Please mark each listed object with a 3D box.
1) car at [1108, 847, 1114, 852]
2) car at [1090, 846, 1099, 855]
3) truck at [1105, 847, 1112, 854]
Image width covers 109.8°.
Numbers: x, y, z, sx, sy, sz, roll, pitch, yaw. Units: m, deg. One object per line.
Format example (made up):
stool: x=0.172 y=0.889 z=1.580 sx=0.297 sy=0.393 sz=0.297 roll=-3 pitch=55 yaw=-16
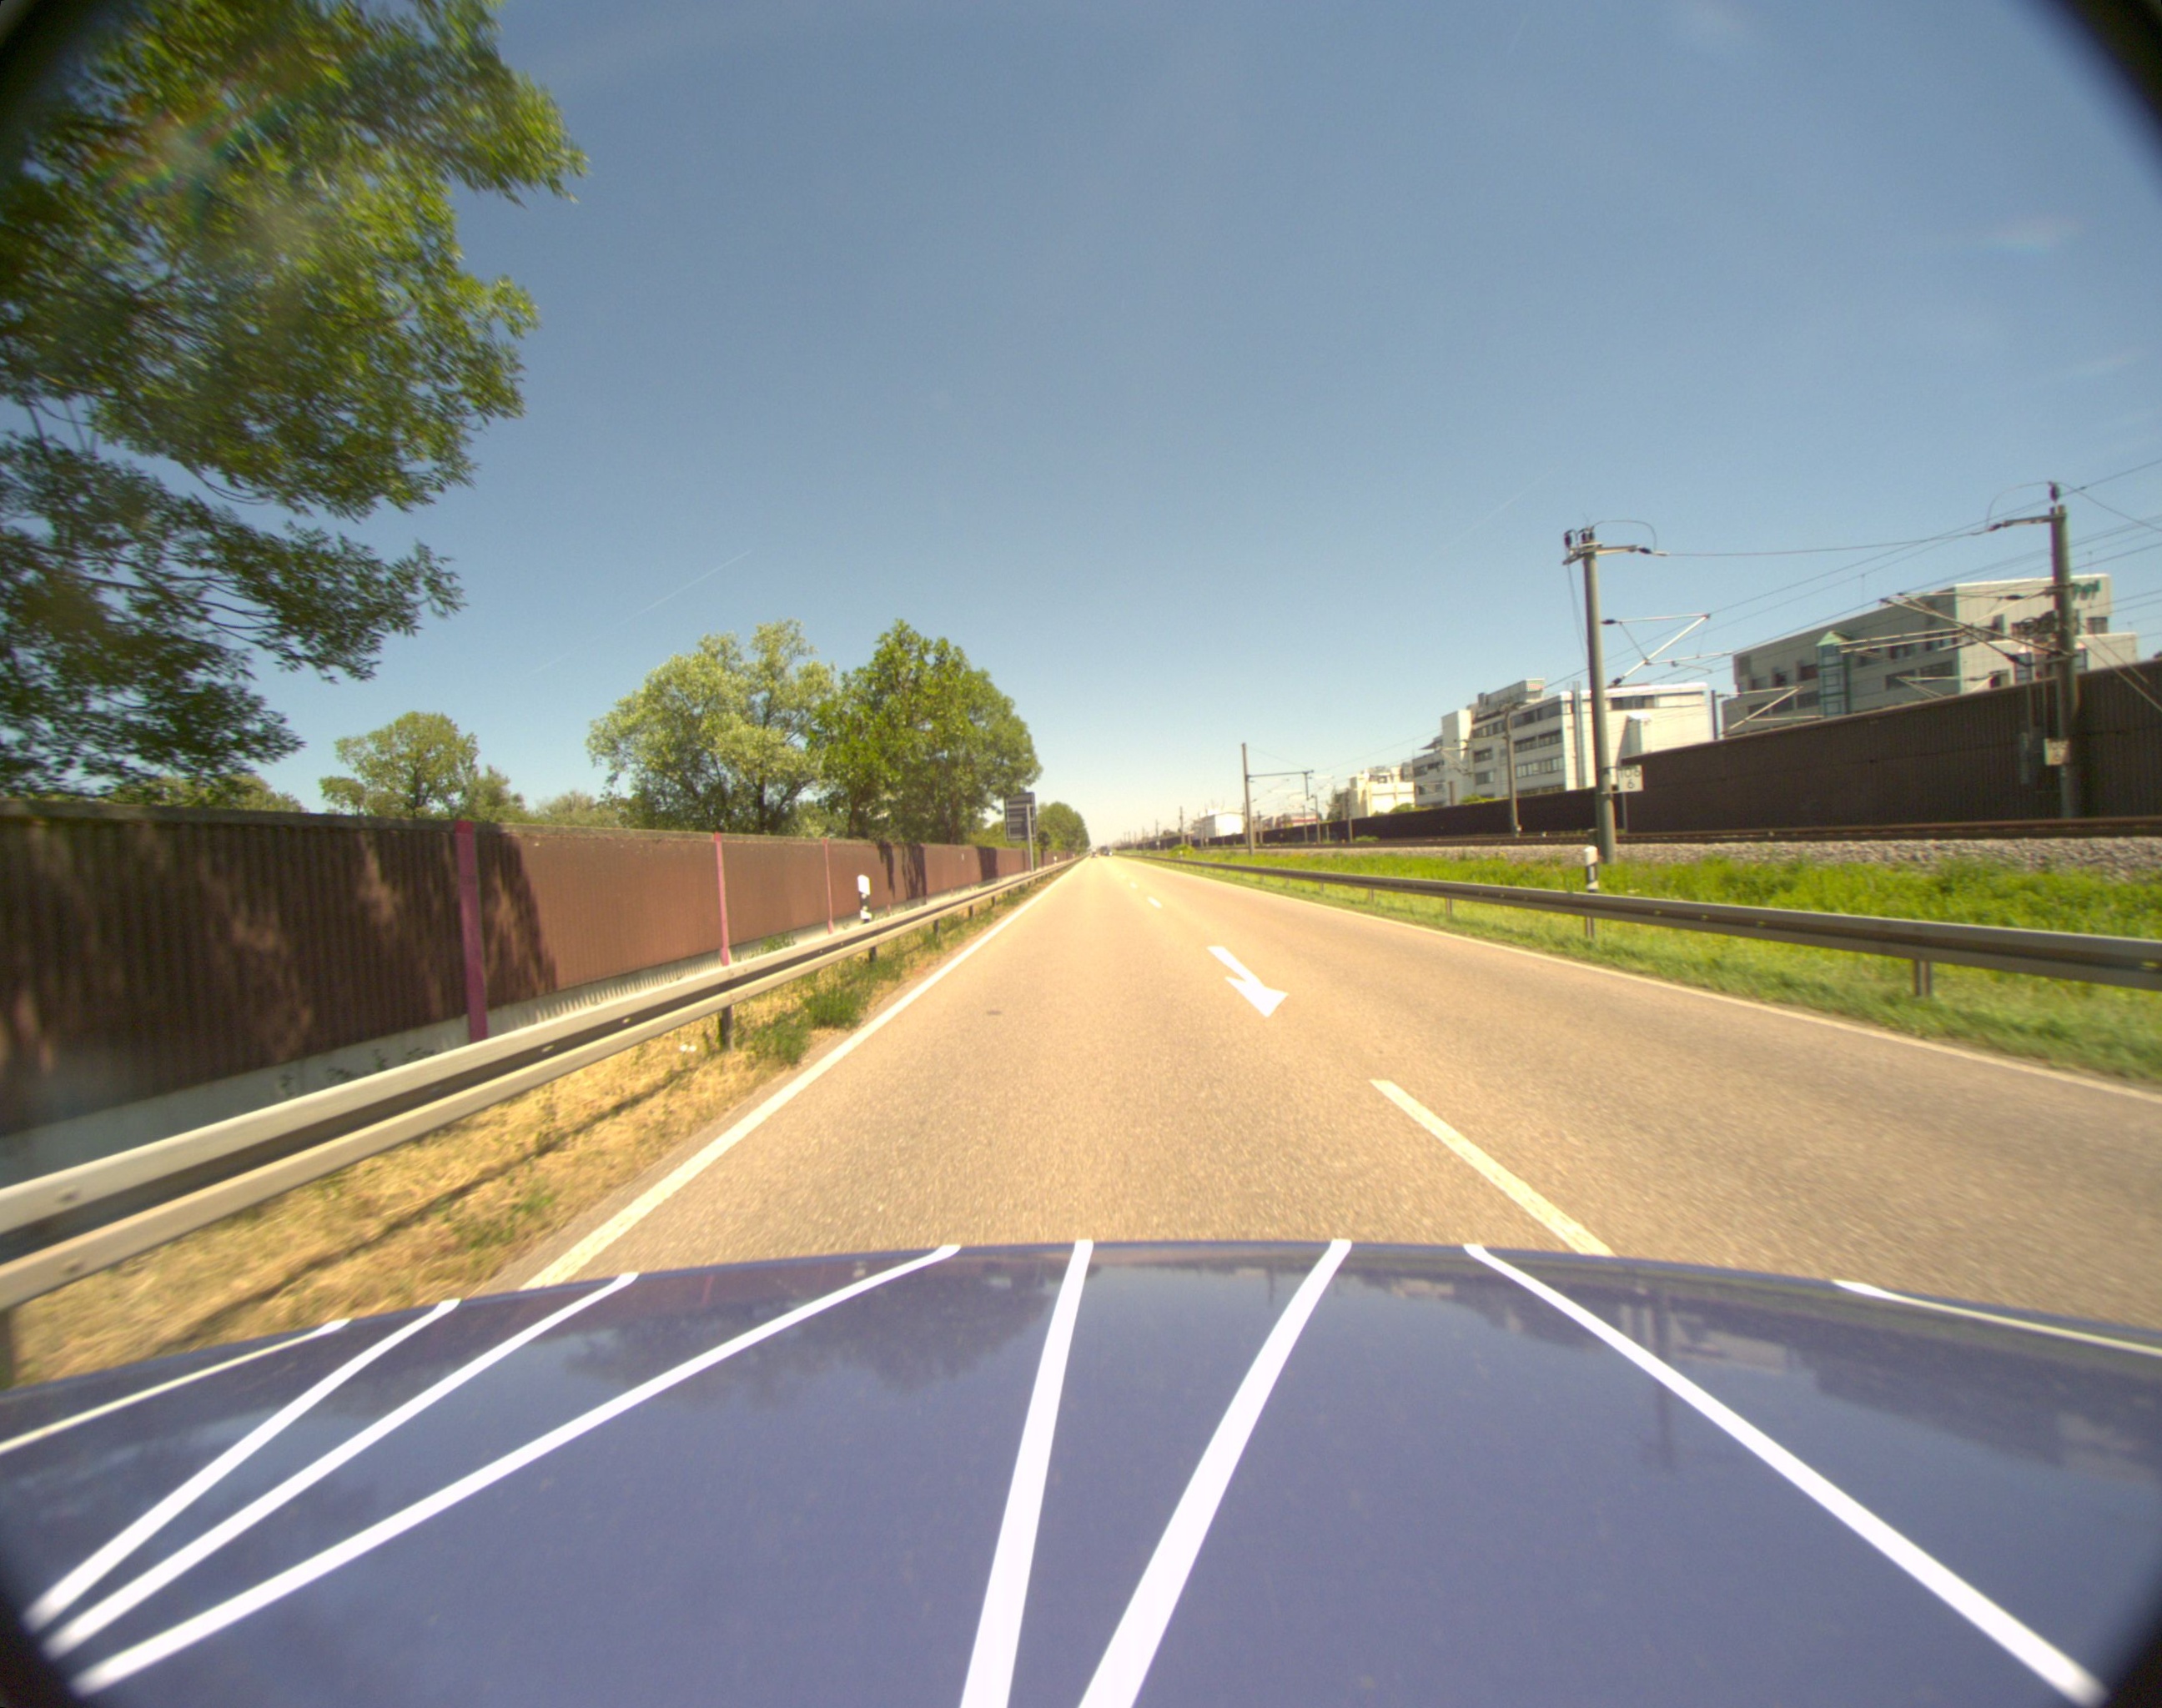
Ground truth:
car: x=8.819 y=-1.313 z=224.654 sx=1.803 sy=1.455 sz=4.000 roll=-3 pitch=1 yaw=2
car: x=3.410 y=-0.911 z=193.296 sx=1.998 sy=2.002 sz=4.001 roll=-3 pitch=1 yaw=4
truck: x=9.180 y=-1.288 z=254.713 sx=2.389 sy=2.256 sz=6.237 roll=-3 pitch=1 yaw=2
